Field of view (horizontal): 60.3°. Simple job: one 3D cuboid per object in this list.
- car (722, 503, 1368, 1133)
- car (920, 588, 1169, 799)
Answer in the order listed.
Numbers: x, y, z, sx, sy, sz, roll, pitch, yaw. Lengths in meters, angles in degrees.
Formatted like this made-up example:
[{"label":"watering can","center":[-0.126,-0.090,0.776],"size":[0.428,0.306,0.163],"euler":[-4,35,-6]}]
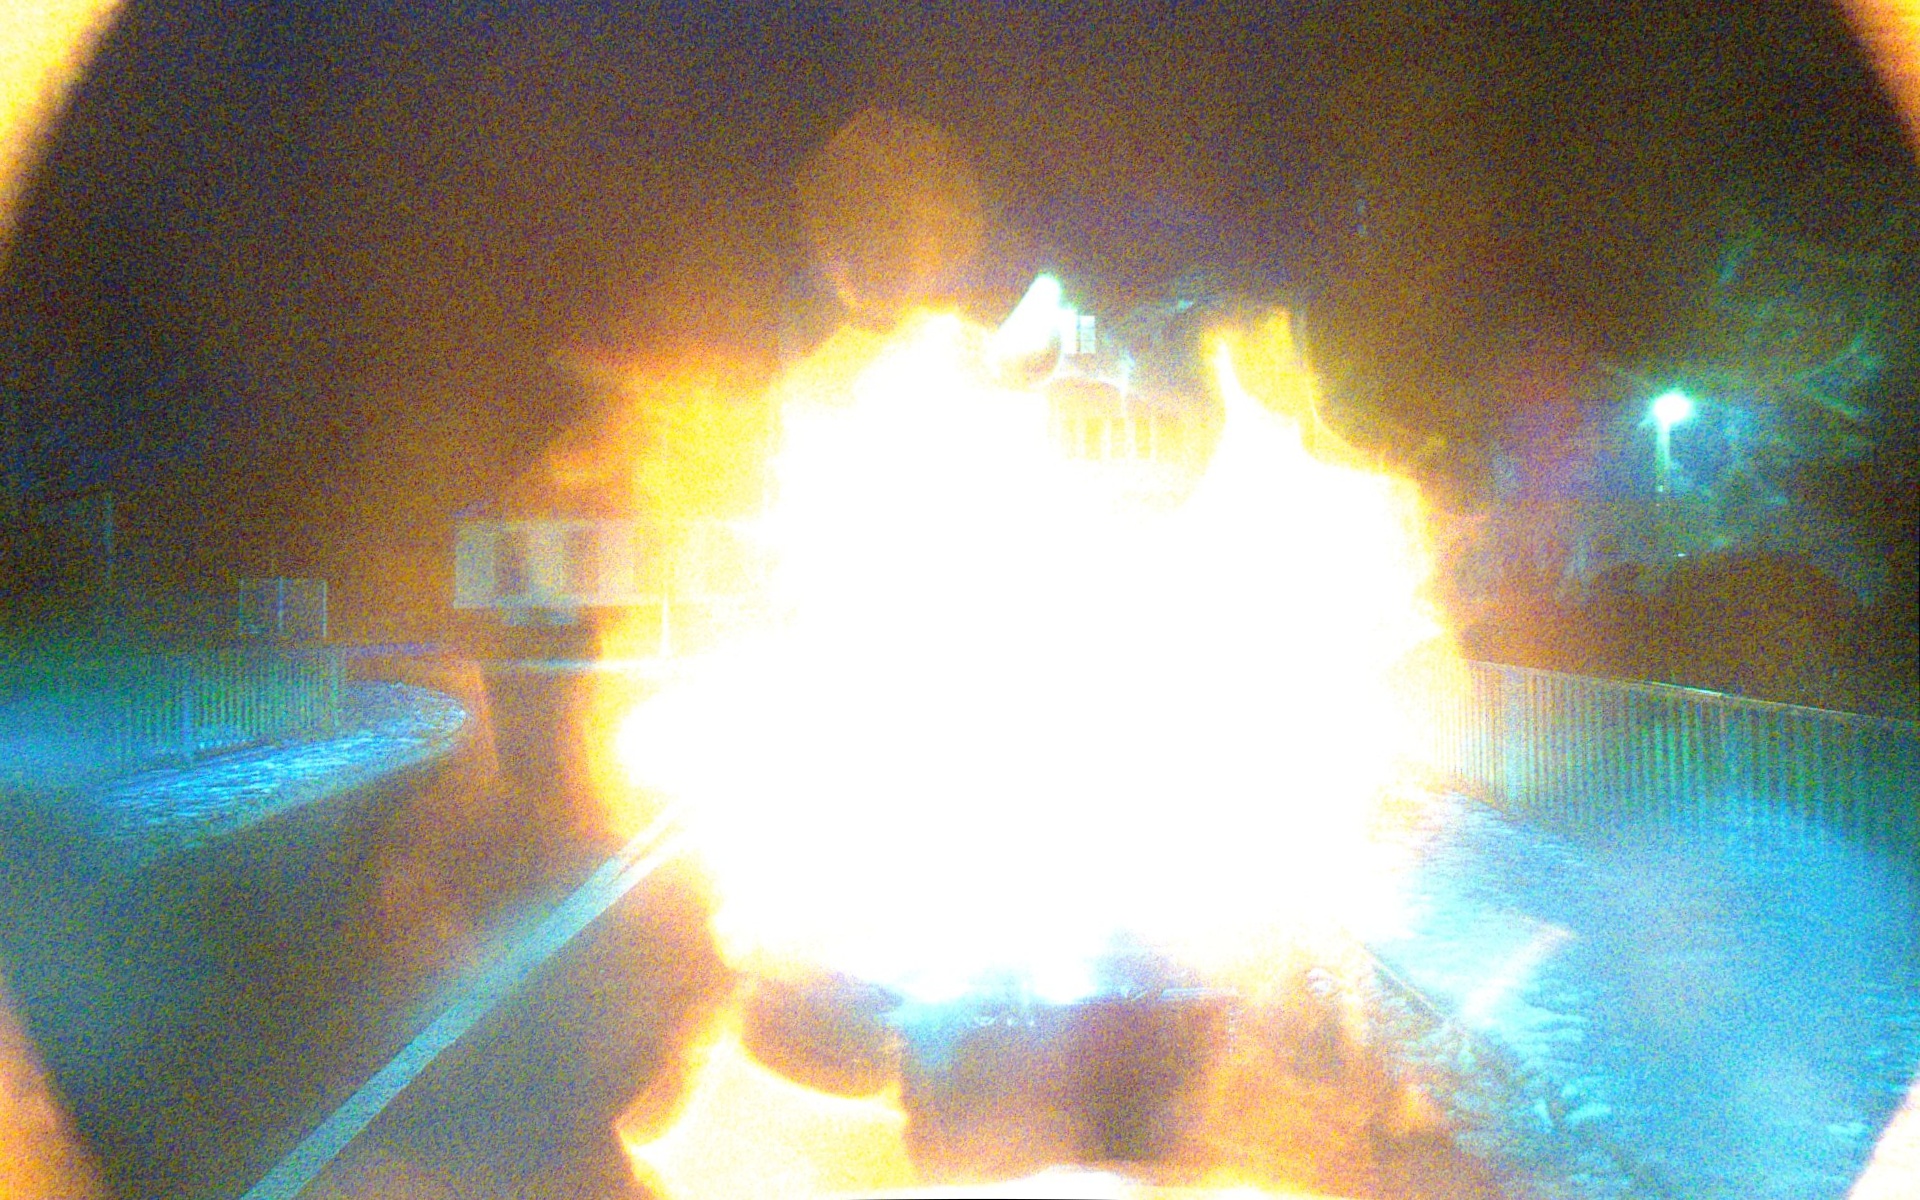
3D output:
[{"label":"car","center":[0.243,0.570,6.450],"size":[1.754,1.710,3.905],"euler":[0,1,0]},{"label":"car","center":[0.671,0.639,13.438],"size":[1.707,1.440,4.001],"euler":[-1,0,2]}]
